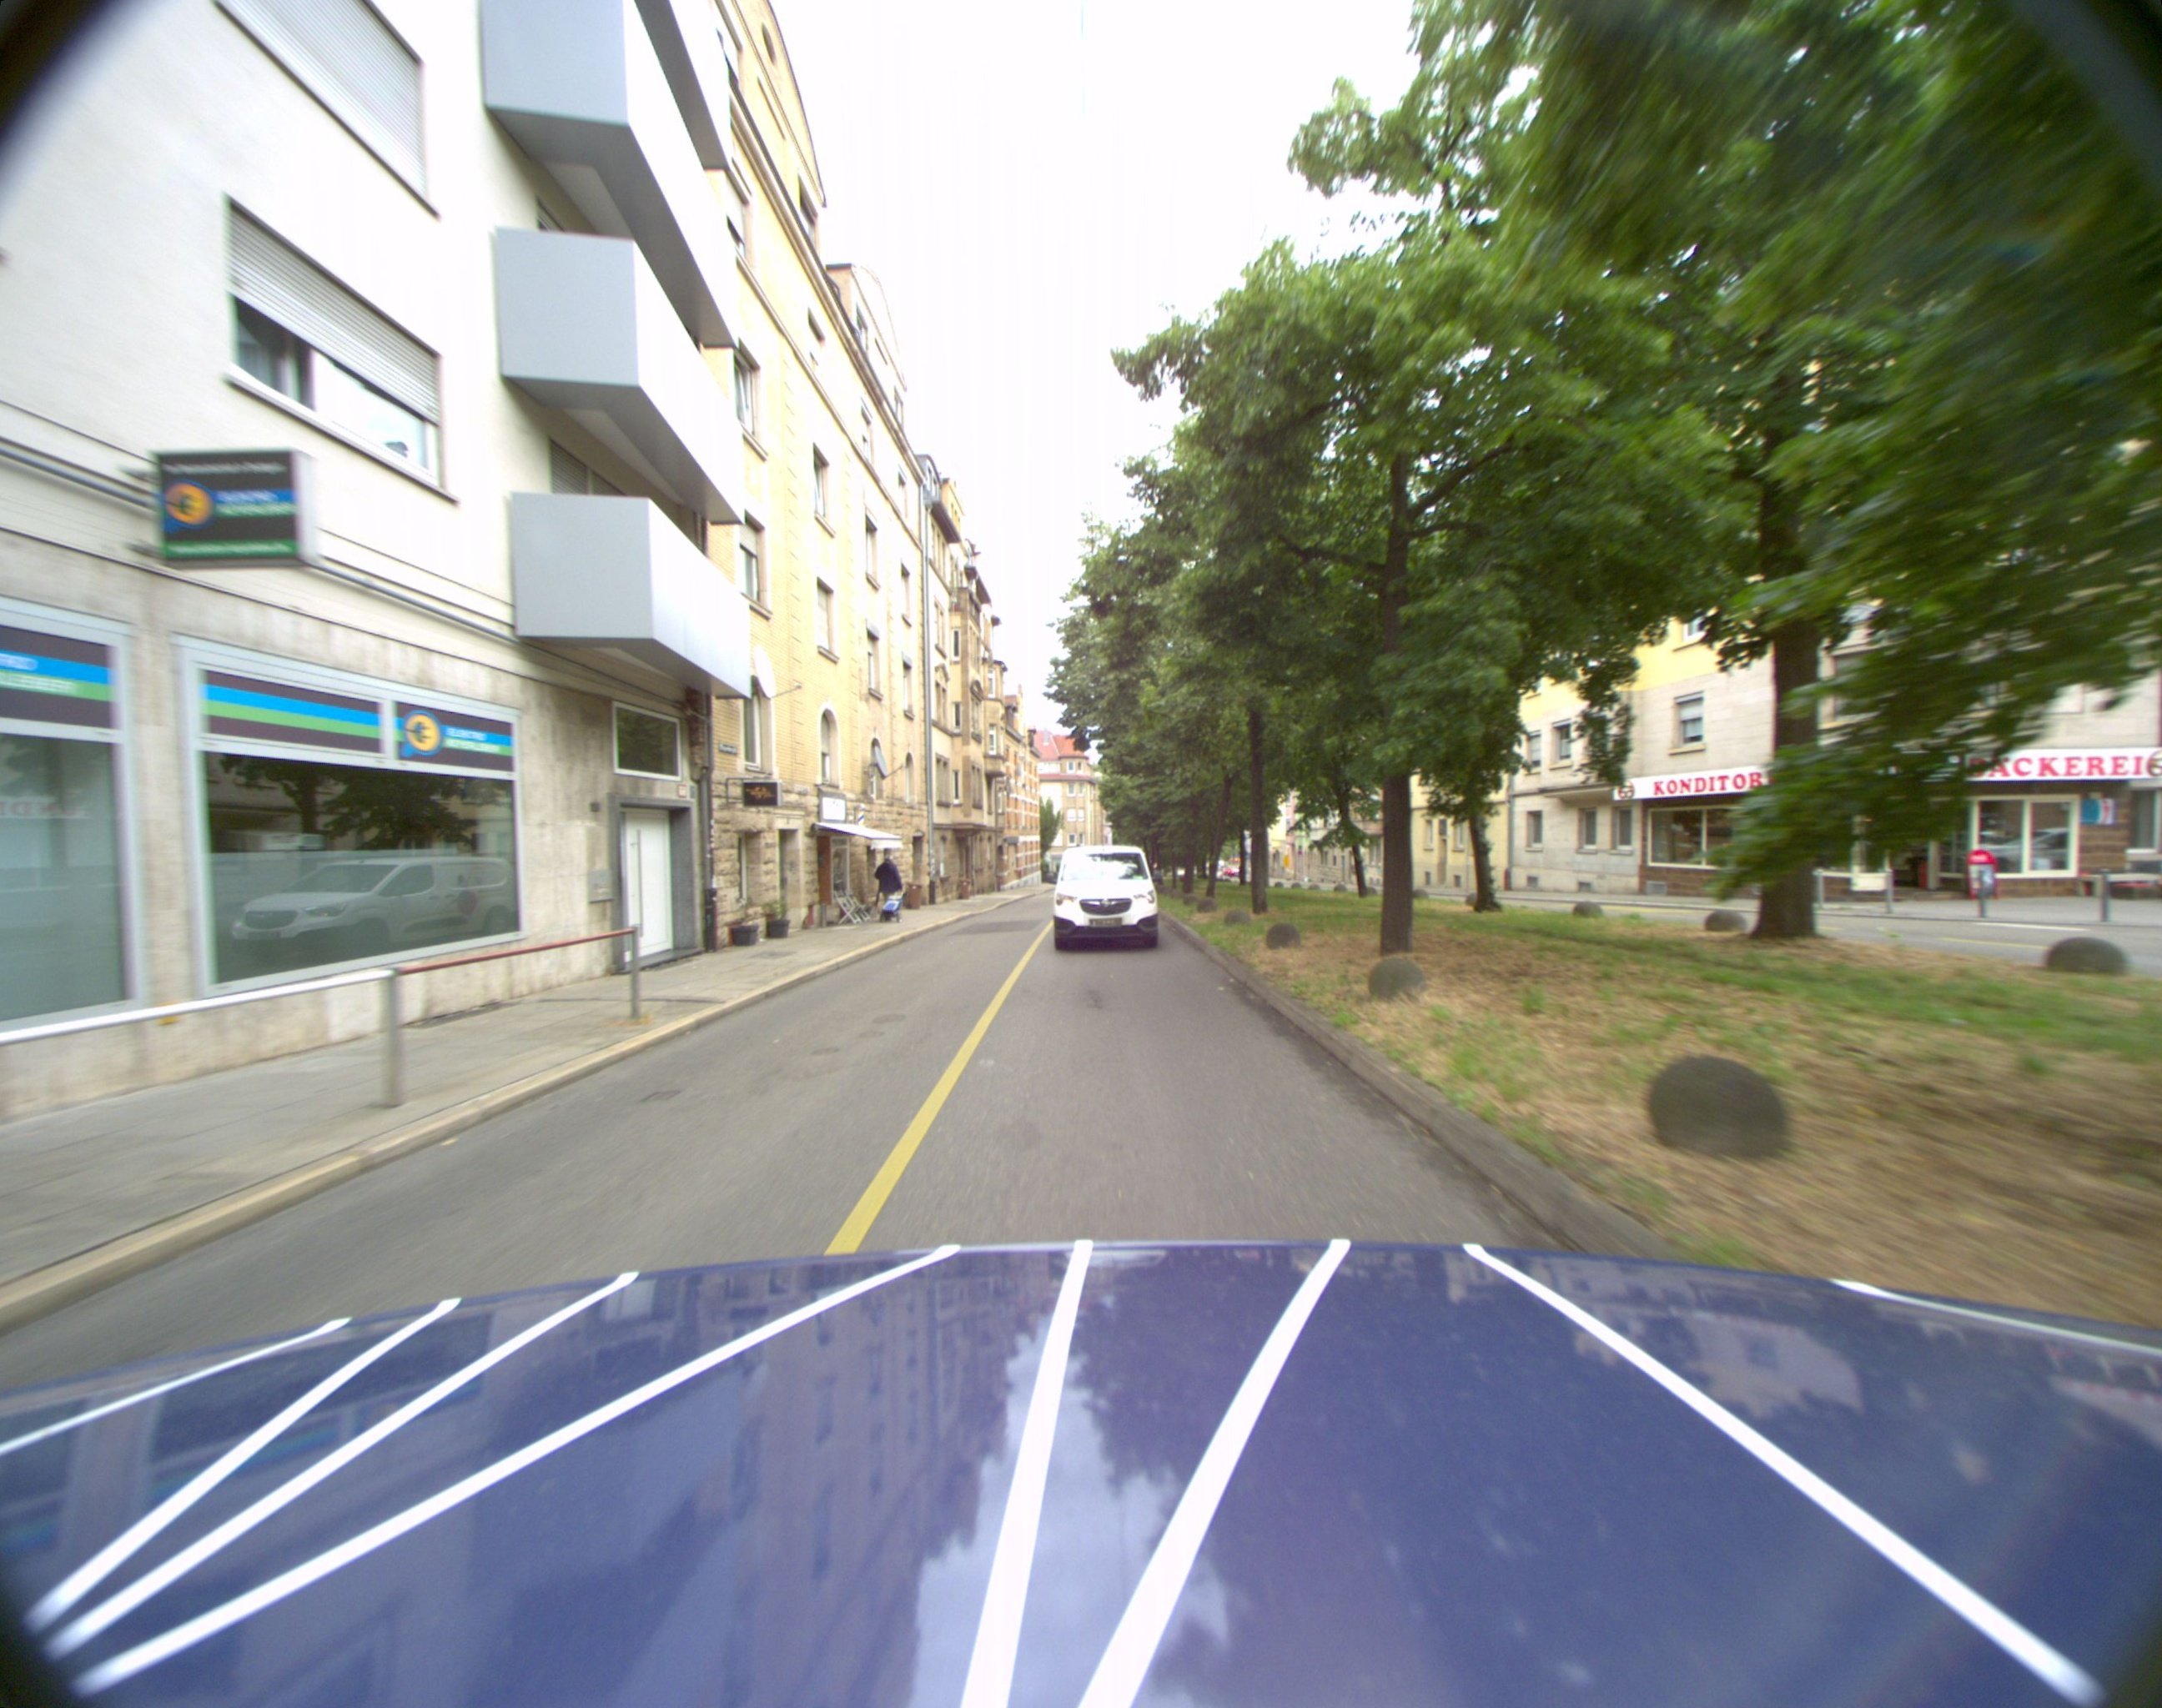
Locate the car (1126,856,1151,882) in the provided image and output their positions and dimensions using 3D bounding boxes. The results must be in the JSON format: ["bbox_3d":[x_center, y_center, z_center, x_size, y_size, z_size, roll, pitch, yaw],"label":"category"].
[{"bbox_3d":[4.851,1.233,63.779,1.962,1.937,3.957,-2,1,5],"label":"car"}]

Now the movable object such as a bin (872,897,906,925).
[{"bbox_3d":[-4.908,1.460,19.473,0.609,0.664,0.859,1,-1,2],"label":"movable object such as a bin"}]

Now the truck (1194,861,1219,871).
[{"bbox_3d":[35.249,3.346,213.597,6.465,2.706,2.767,1,-1,-26],"label":"truck"}]

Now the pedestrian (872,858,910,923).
[{"bbox_3d":[-5.078,0.963,20.356,0.753,1.682,0.859,1,0,2],"label":"pedestrian"}]

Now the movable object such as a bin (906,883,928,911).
[{"bbox_3d":[-5.659,1.491,26.253,0.595,0.899,0.502,-2,3,3],"label":"movable object such as a bin"}]

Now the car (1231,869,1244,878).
[{"bbox_3d":[25.238,3.150,122.906,1.761,1.374,4.673,1,-2,9],"label":"car"}]

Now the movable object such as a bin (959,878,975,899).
[{"bbox_3d":[-5.196,1.566,34.772,0.595,0.898,0.563,-2,0,3],"label":"movable object such as a bin"}]

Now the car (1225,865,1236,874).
[{"bbox_3d":[28.957,2.975,147.381,1.819,1.627,4.682,1,0,6],"label":"car"}]

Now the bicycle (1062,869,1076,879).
[{"bbox_3d":[-1.548,2.578,98.022,0.642,1.134,2.069,-4,5,-36],"label":"bicycle"}]

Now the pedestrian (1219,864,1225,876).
[{"bbox_3d":[17.978,2.054,97.199,0.700,1.451,0.705,-2,-1,9],"label":"pedestrian"}]

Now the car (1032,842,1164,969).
[{"bbox_3d":[0.448,0.831,13.531,1.857,1.798,4.732,-3,-2,5],"label":"car"}]

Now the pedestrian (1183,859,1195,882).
[{"bbox_3d":[8.567,1.281,60.151,0.835,1.702,1.123,3,2,8],"label":"pedestrian"}]
